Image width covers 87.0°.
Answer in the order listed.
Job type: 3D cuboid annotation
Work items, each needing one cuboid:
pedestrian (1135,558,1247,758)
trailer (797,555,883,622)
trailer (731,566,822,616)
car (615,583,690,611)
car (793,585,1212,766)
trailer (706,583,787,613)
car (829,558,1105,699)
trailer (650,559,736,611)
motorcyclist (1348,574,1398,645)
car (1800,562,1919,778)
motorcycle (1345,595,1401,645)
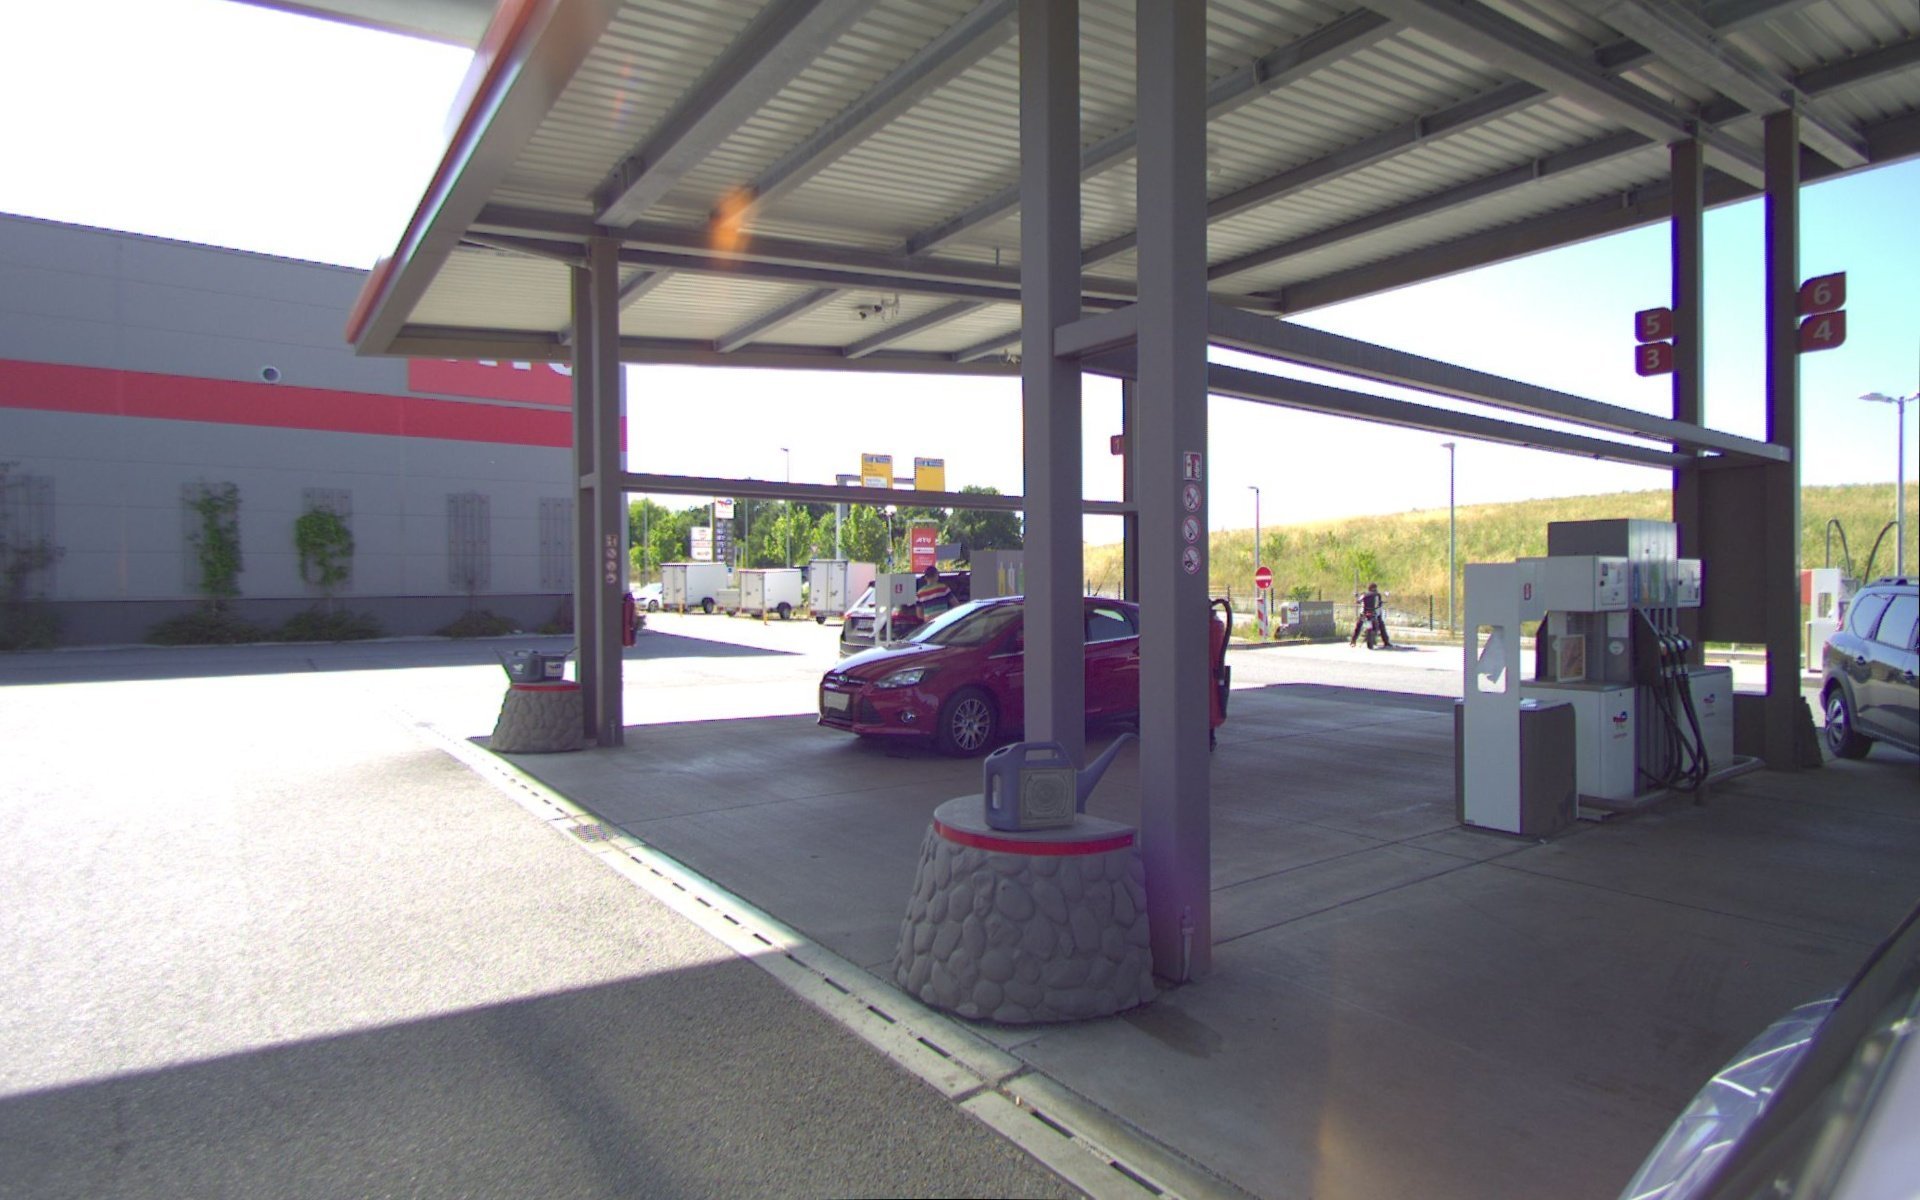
[{"bbox_3d":[2.137,0.491,9.319,0.699,1.724,0.916,0,0,37],"label":"pedestrian"},{"bbox_3d":[-4.587,-0.461,39.154,1.972,2.457,3.981,0,1,15],"label":"trailer"},{"bbox_3d":[-7.842,-0.401,43.527,1.786,2.039,3.960,0,1,28],"label":"trailer"},{"bbox_3d":[-15.294,-0.197,50.476,1.660,1.334,3.811,1,1,19],"label":"car"},{"bbox_3d":[0.552,0.602,10.299,4.154,1.487,1.703,0,1,-37],"label":"car"},{"bbox_3d":[-9.562,-0.113,45.518,1.564,1.297,3.682,0,1,28],"label":"trailer"},{"bbox_3d":[0.294,0.368,16.023,2.021,1.874,4.736,1,0,35],"label":"car"},{"bbox_3d":[-13.067,-0.752,49.725,1.980,2.457,3.965,1,1,26],"label":"trailer"},{"bbox_3d":[10.324,0.212,25.281,1.025,1.709,1.088,0,1,29],"label":"motorcyclist"},{"bbox_3d":[8.325,0.544,7.761,1.725,1.665,4.593,0,1,24],"label":"car"},{"bbox_3d":[10.365,0.476,25.344,1.036,1.119,2.392,1,2,28],"label":"motorcycle"}]
